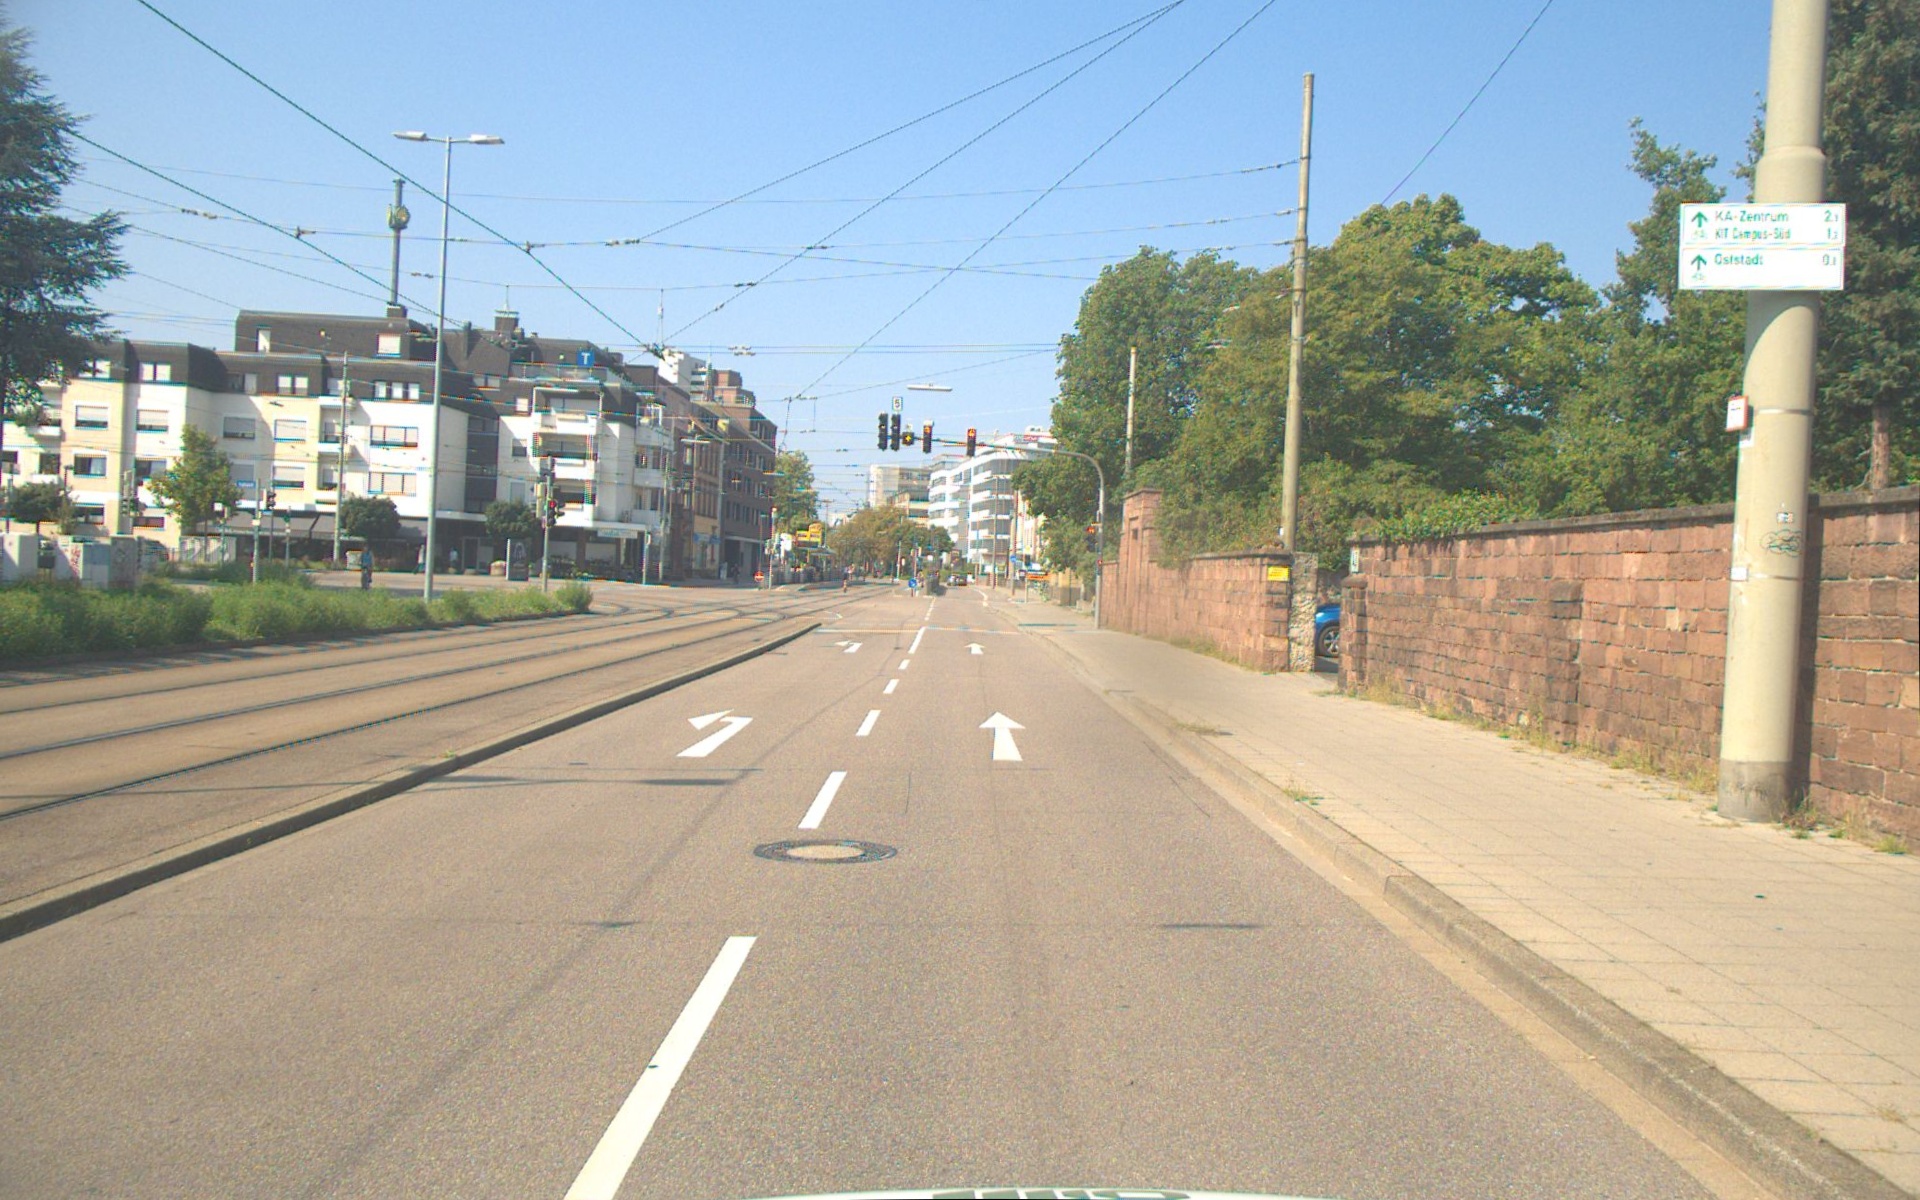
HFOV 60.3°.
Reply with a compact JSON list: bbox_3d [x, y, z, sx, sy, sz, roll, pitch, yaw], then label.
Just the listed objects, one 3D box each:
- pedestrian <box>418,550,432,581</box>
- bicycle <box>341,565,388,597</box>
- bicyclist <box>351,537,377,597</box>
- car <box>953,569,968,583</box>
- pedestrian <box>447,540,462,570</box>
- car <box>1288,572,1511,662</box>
[{"bbox_3d":[-30.847,-1.964,95.354,0.593,1.775,0.559,0,1,-34],"label":"pedestrian"},{"bbox_3d":[-21.320,-0.687,59.244,0.700,1.110,2.266,1,1,4],"label":"bicycle"},{"bbox_3d":[-21.319,-1.177,59.171,0.624,2.100,0.775,1,1,4],"label":"bicyclist"},{"bbox_3d":[0.123,-3.313,228.391,1.970,1.891,4.001,1,1,1],"label":"car"},{"bbox_3d":[-30.937,-2.751,101.271,0.665,1.771,0.698,1,1,1],"label":"pedestrian"},{"bbox_3d":[8.688,0.317,32.925,3.887,1.489,1.777,3,2,-1],"label":"car"}]
